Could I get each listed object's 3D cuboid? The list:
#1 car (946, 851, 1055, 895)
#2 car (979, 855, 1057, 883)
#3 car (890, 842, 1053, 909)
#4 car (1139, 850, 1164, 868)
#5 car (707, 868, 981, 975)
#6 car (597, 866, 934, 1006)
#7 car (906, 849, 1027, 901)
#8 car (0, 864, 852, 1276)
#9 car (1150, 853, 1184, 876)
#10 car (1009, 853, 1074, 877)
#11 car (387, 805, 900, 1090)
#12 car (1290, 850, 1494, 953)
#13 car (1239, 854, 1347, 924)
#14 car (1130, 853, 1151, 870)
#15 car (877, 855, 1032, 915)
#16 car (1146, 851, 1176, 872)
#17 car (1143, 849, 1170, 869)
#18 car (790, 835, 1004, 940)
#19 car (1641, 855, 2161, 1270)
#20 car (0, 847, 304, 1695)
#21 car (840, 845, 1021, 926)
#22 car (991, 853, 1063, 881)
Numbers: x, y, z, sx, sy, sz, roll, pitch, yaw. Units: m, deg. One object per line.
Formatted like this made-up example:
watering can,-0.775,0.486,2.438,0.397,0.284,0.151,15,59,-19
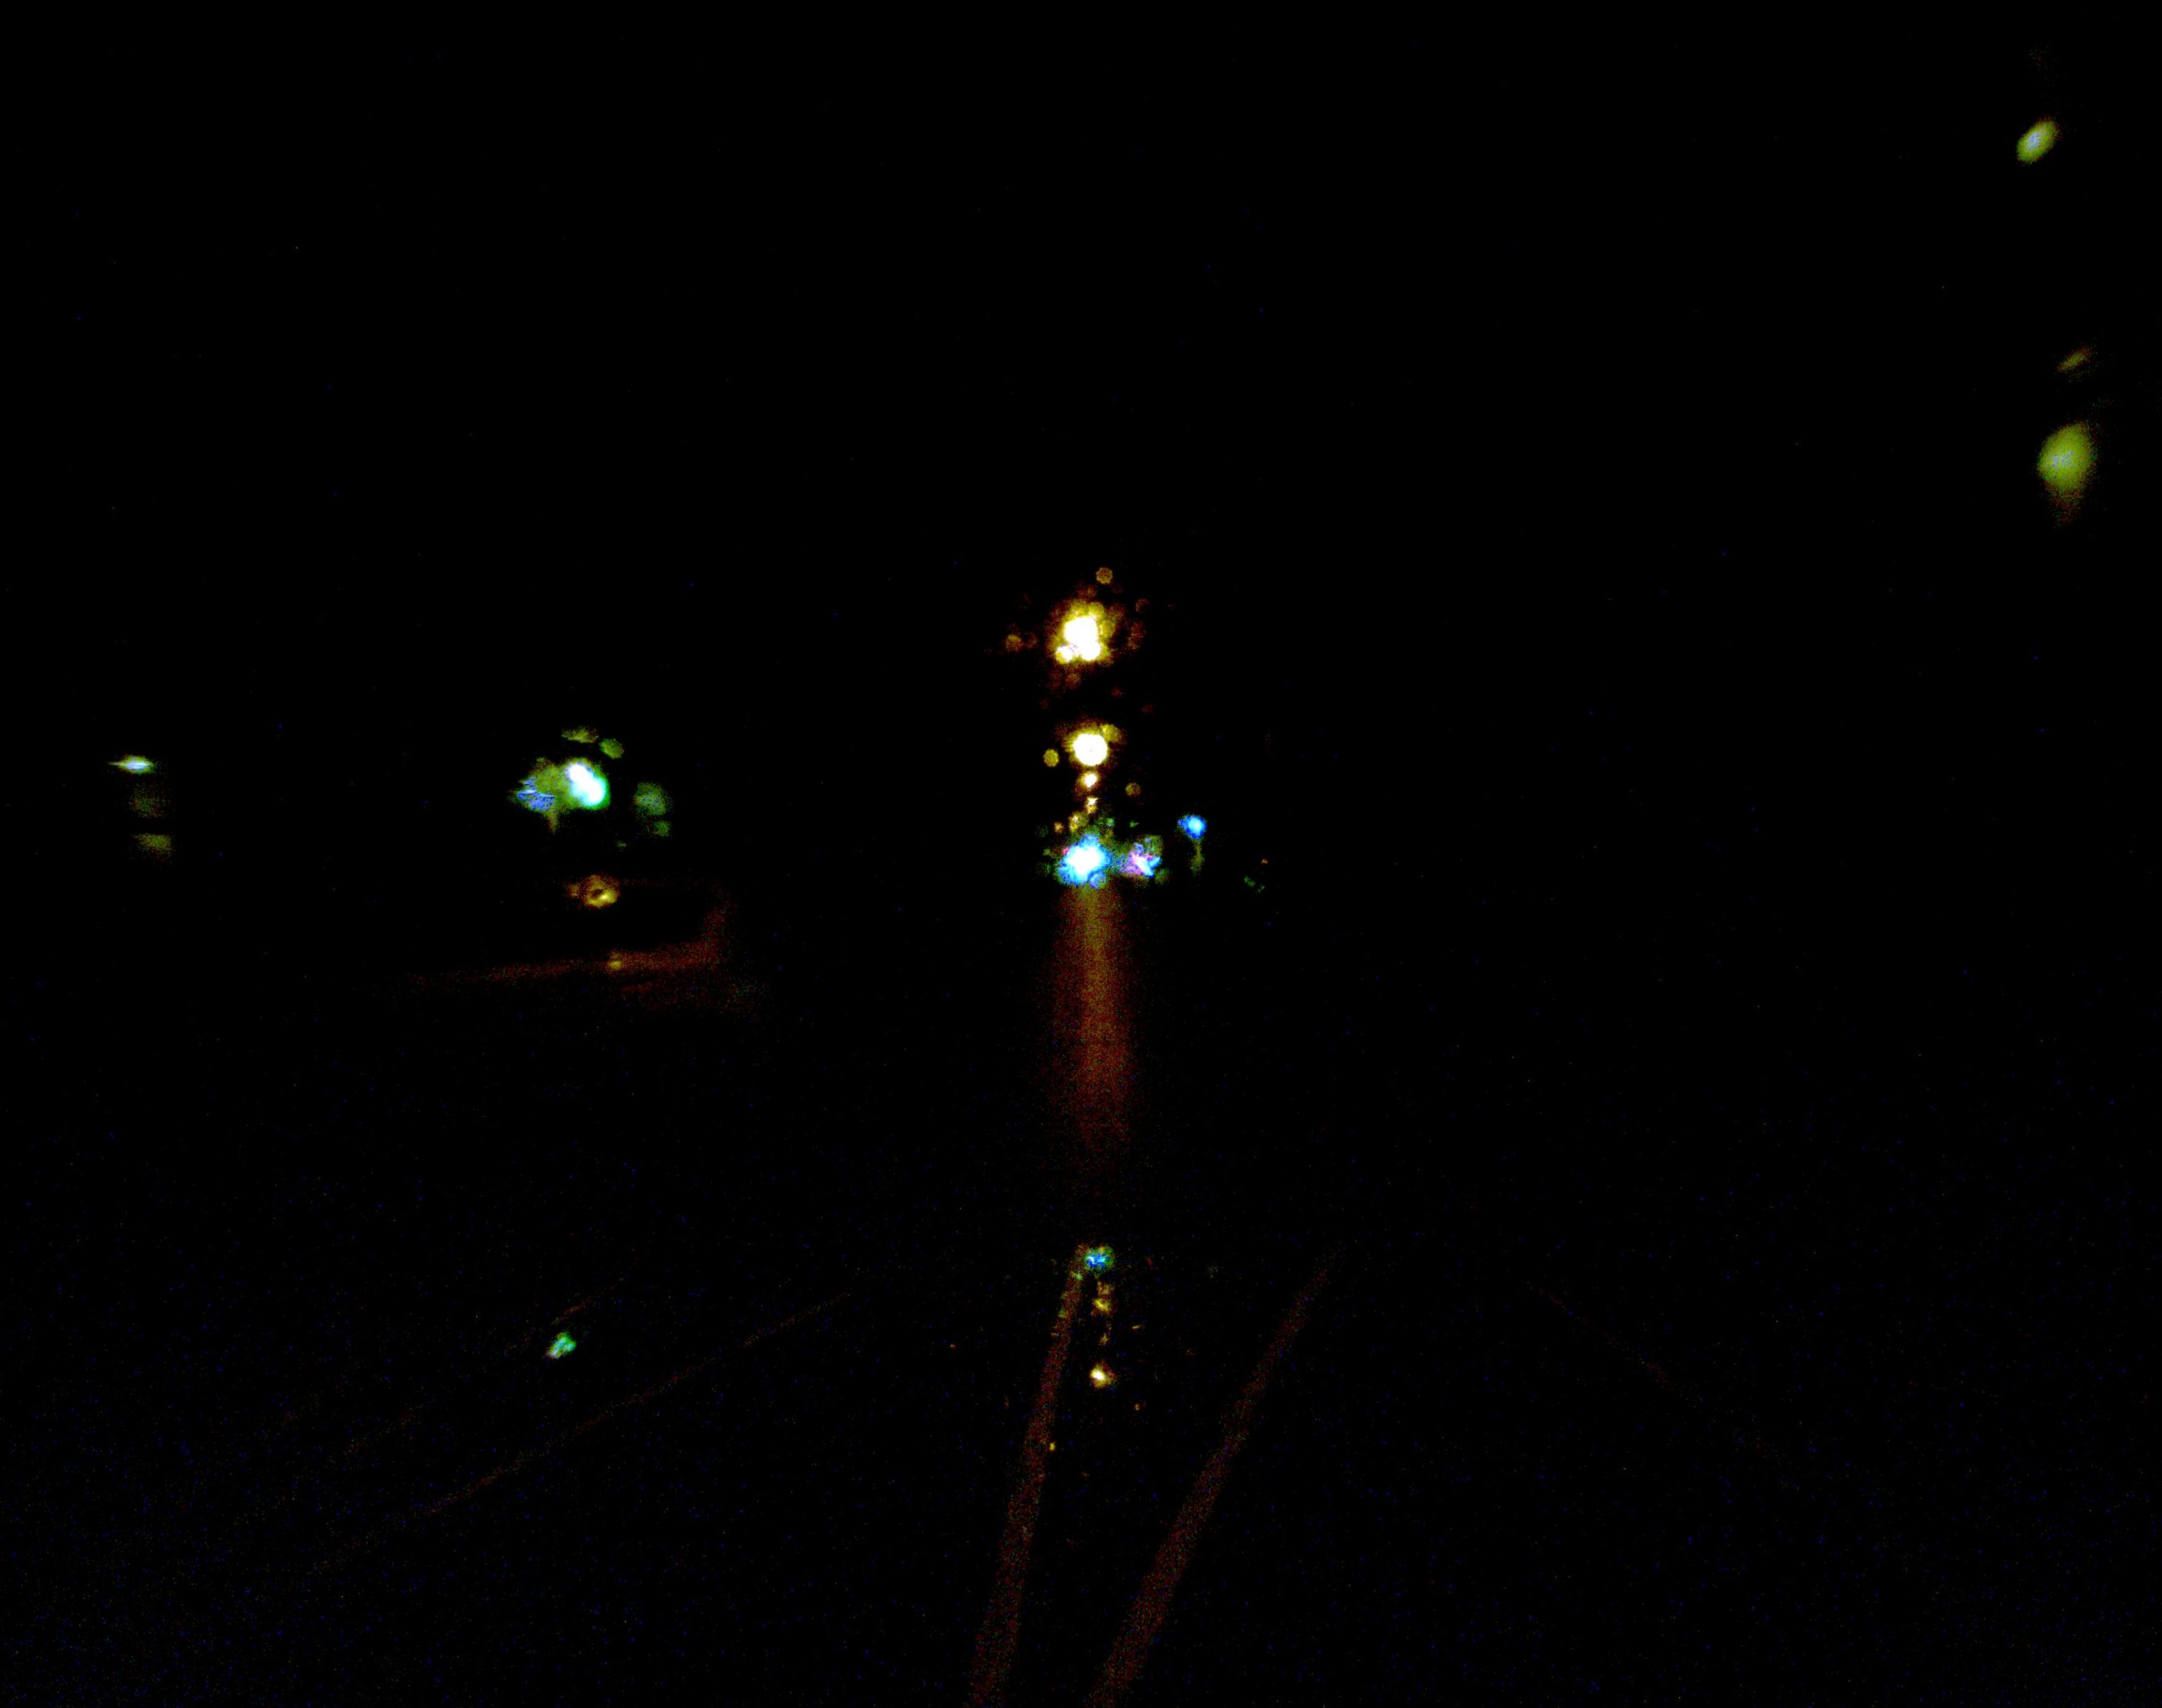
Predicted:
car,-3.158,0.743,29.728,3.938,1.610,1.707,1,0,-21
car,-3.451,0.841,41.586,3.939,1.455,1.707,1,0,-22
car,-3.473,0.649,24.285,4.719,1.968,1.975,1,0,-28
car,6.302,0.431,68.221,1.851,1.571,3.735,-2,0,1
car,-3.891,1.002,12.737,4.064,1.444,1.674,-1,0,-34
car,-3.954,0.914,9.728,3.712,1.444,1.654,1,0,-31
car,-4.084,0.744,27.041,3.938,1.732,1.707,1,0,-21
car,-3.584,0.889,4.362,4.078,1.588,1.830,1,0,-27
car,5.805,0.676,51.699,1.851,1.470,3.735,-2,0,1
car,-2.612,0.738,50.388,3.939,1.553,1.707,1,0,-22
car,-3.821,0.684,7.130,3.747,2.017,1.717,1,0,-34
car,5.141,0.693,13.230,1.721,1.470,4.159,-1,0,-2
car,5.057,0.762,18.609,1.720,1.470,3.786,-2,0,3
car,5.972,0.719,76.568,1.851,1.571,3.735,-2,0,1
car,-3.561,0.832,21.582,3.941,1.541,1.739,1,0,-33
car,6.000,0.541,57.313,1.851,1.470,3.735,-2,0,1
car,6.253,0.420,63.302,1.851,1.571,3.735,-2,0,1
car,-3.766,0.647,15.833,3.942,1.931,1.738,1,0,-36
car,4.872,0.769,2.893,1.851,1.470,5.031,-1,0,1
car,-4.199,0.817,1.240,3.801,1.702,1.744,1,0,-33
car,-3.633,0.723,18.614,3.942,1.782,1.738,1,0,-36
car,-3.193,0.767,44.967,3.939,1.553,1.707,1,0,-22
